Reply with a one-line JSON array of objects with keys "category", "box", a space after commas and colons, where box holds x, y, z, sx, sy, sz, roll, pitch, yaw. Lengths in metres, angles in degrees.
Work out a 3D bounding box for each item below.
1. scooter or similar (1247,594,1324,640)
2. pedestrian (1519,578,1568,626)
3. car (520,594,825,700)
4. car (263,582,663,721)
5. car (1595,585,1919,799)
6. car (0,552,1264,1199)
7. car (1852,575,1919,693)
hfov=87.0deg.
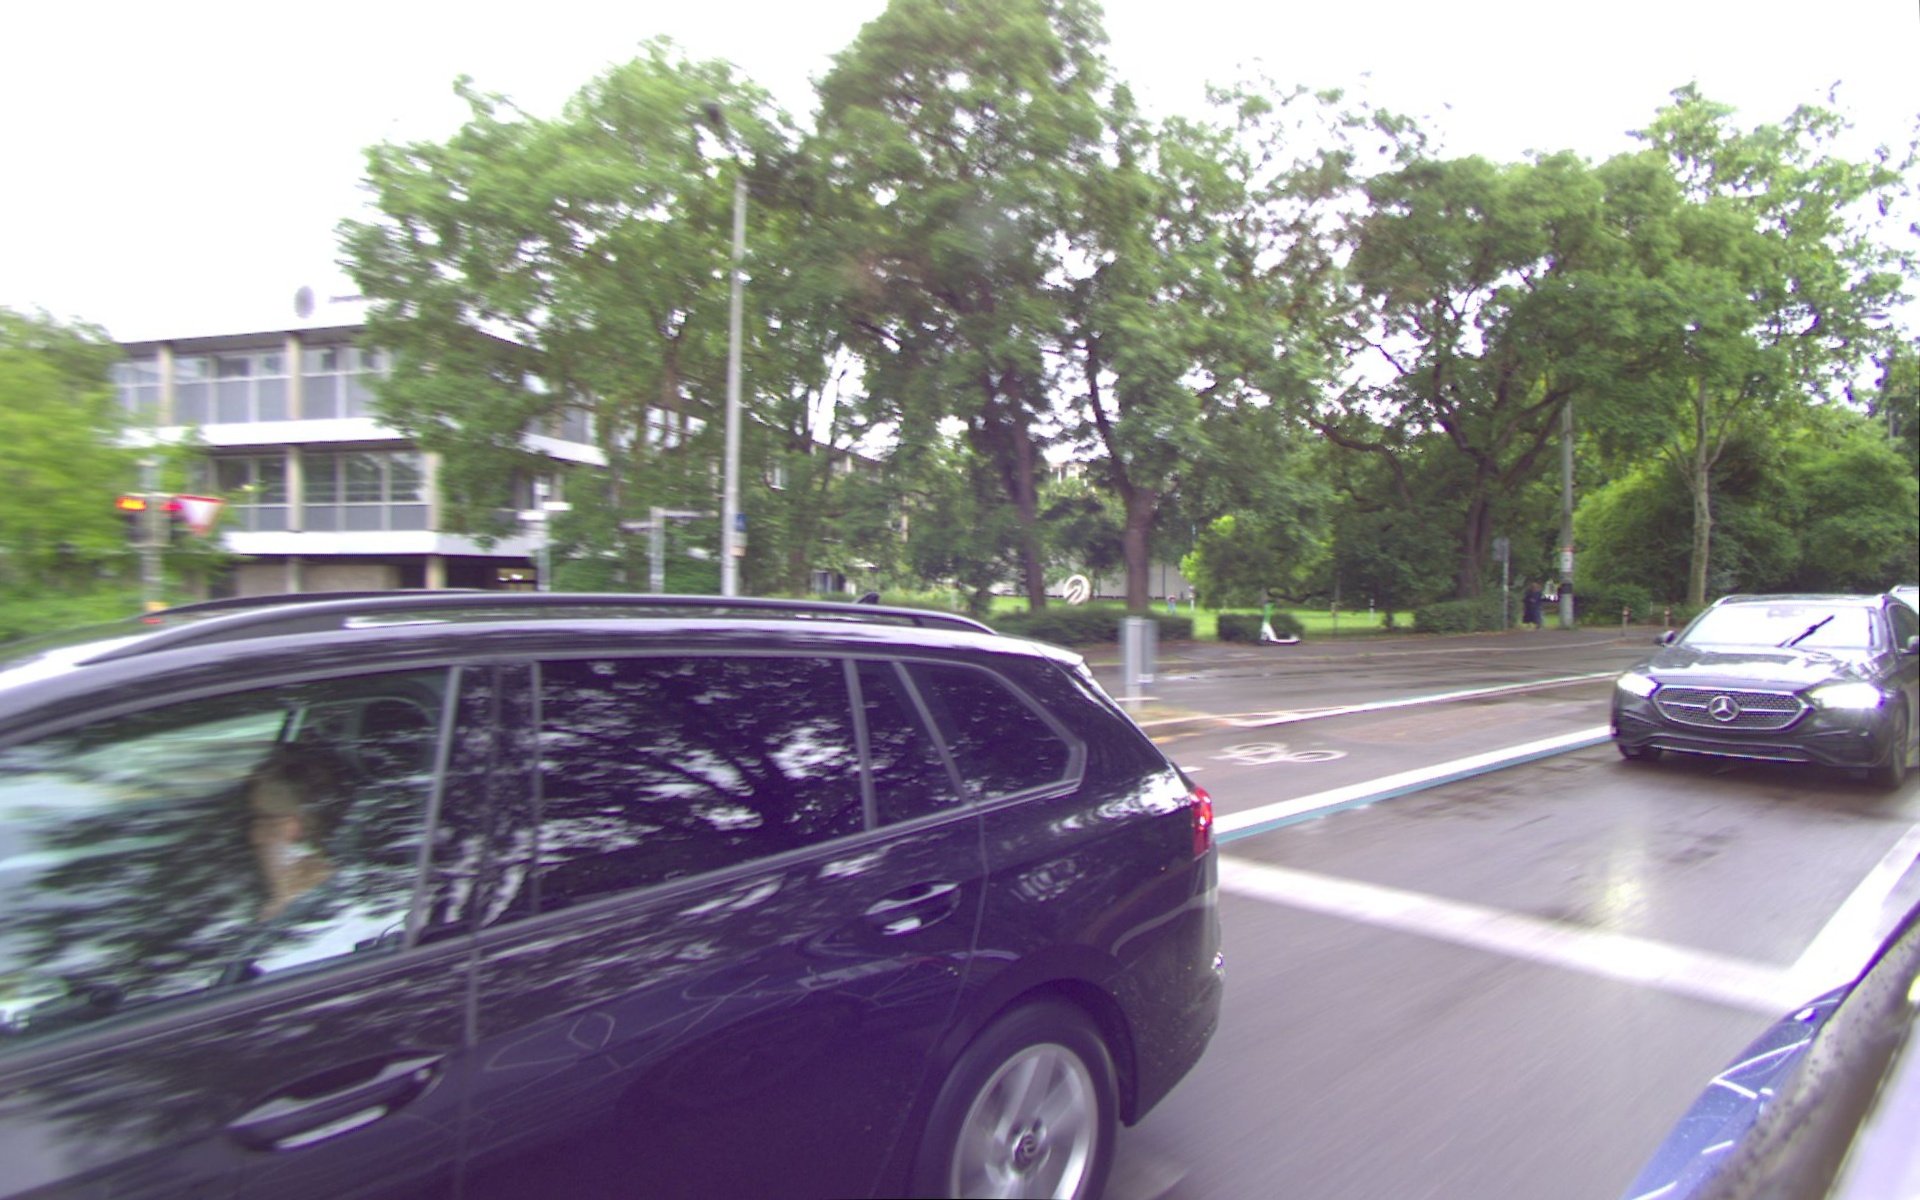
[{"category": "scooter or similar", "box": [8.280, 0.441, 25.740, 1.851, 1.114, 0.559, 1, 3, -19]}, {"category": "pedestrian", "box": [20.269, 0.065, 35.173, 1.039, 1.626, 1.071, -2, 0, 2]}, {"category": "car", "box": [-4.415, 0.644, 15.728, 4.311, 1.468, 1.872, 0, 0, -19]}, {"category": "car", "box": [-5.625, 0.568, 12.004, 3.916, 1.468, 1.872, 1, 0, -13]}, {"category": "car", "box": [7.721, 0.598, 9.218, 4.843, 1.464, 1.883, -1, 1, -40]}, {"category": "car", "box": [-1.455, 0.685, 1.750, 4.433, 1.484, 1.673, 0, 0, -41]}, {"category": "car", "box": [15.208, 0.468, 15.345, 4.495, 1.628, 1.832, 0, -1, -39]}]
